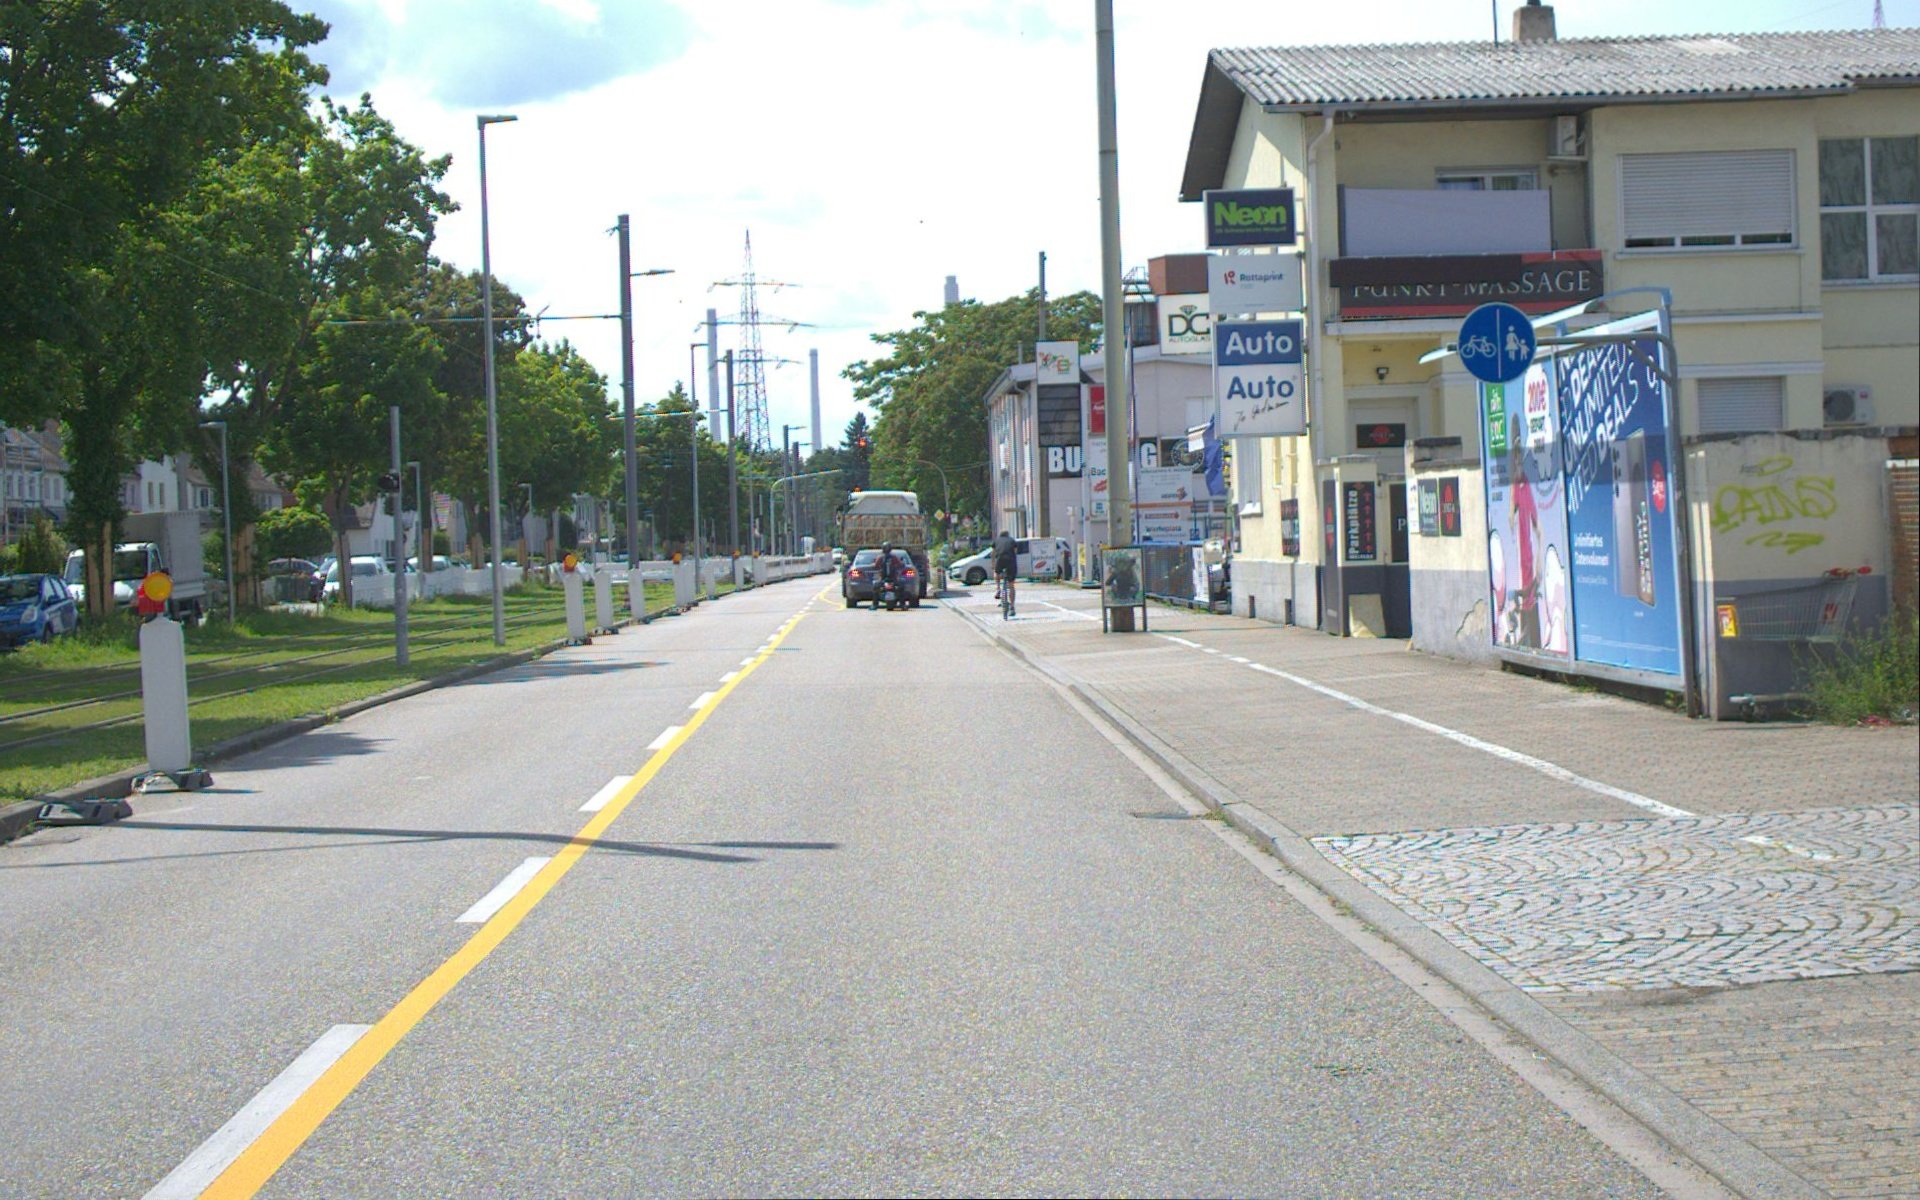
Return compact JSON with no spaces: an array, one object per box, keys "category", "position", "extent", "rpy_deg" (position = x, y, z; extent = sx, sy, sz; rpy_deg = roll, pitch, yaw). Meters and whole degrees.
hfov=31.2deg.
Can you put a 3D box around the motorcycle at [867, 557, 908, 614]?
[{"category":"motorcycle","position":[-1.746,-0.353,82.812],"extent":[0.939,1.316,2.645],"rpy_deg":[1,0,-1]}]

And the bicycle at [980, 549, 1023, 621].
[{"category":"bicycle","position":[0.798,-0.305,66.343],"extent":[0.692,1.357,2.419],"rpy_deg":[-1,1,-2]}]

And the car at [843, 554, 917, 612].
[{"category":"car","position":[-2.013,-0.458,87.152],"extent":[1.821,1.419,4.000],"rpy_deg":[-1,1,-1]}]

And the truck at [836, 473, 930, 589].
[{"category":"truck","position":[-2.264,-2.125,103.375],"extent":[2.610,3.244,9.183],"rpy_deg":[-2,2,-1]}]

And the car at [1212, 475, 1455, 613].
[{"category":"car","position":[7.358,-1.098,68.150],"extent":[4.537,2.564,2.151],"rpy_deg":[-1,0,1]}]

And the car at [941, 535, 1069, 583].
[{"category":"car","position":[1.615,-1.490,124.820],"extent":[4.329,1.546,1.950],"rpy_deg":[-2,0,-9]}]

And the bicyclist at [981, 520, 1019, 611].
[{"category":"bicyclist","position":[0.764,-0.672,66.359],"extent":[0.671,1.738,0.813],"rpy_deg":[-1,1,-2]}]

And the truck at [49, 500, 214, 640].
[{"category":"truck","position":[-17.844,-0.676,74.392],"extent":[1.993,2.758,6.277],"rpy_deg":[-4,1,-1]}]

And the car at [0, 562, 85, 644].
[{"category":"car","position":[-17.557,0.073,63.359],"extent":[1.993,1.448,4.000],"rpy_deg":[-2,0,-3]}]

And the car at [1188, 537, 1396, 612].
[{"category":"car","position":[6.854,-0.529,71.014],"extent":[4.184,1.426,1.820],"rpy_deg":[-1,0,6]}]

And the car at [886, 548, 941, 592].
[{"category":"car","position":[-1.566,-1.016,116.486],"extent":[1.821,1.459,4.000],"rpy_deg":[-1,1,-1]}]

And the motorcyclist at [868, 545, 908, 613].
[{"category":"motorcyclist","position":[-1.737,-0.504,82.630],"extent":[0.939,1.609,1.205],"rpy_deg":[1,0,-1]}]
